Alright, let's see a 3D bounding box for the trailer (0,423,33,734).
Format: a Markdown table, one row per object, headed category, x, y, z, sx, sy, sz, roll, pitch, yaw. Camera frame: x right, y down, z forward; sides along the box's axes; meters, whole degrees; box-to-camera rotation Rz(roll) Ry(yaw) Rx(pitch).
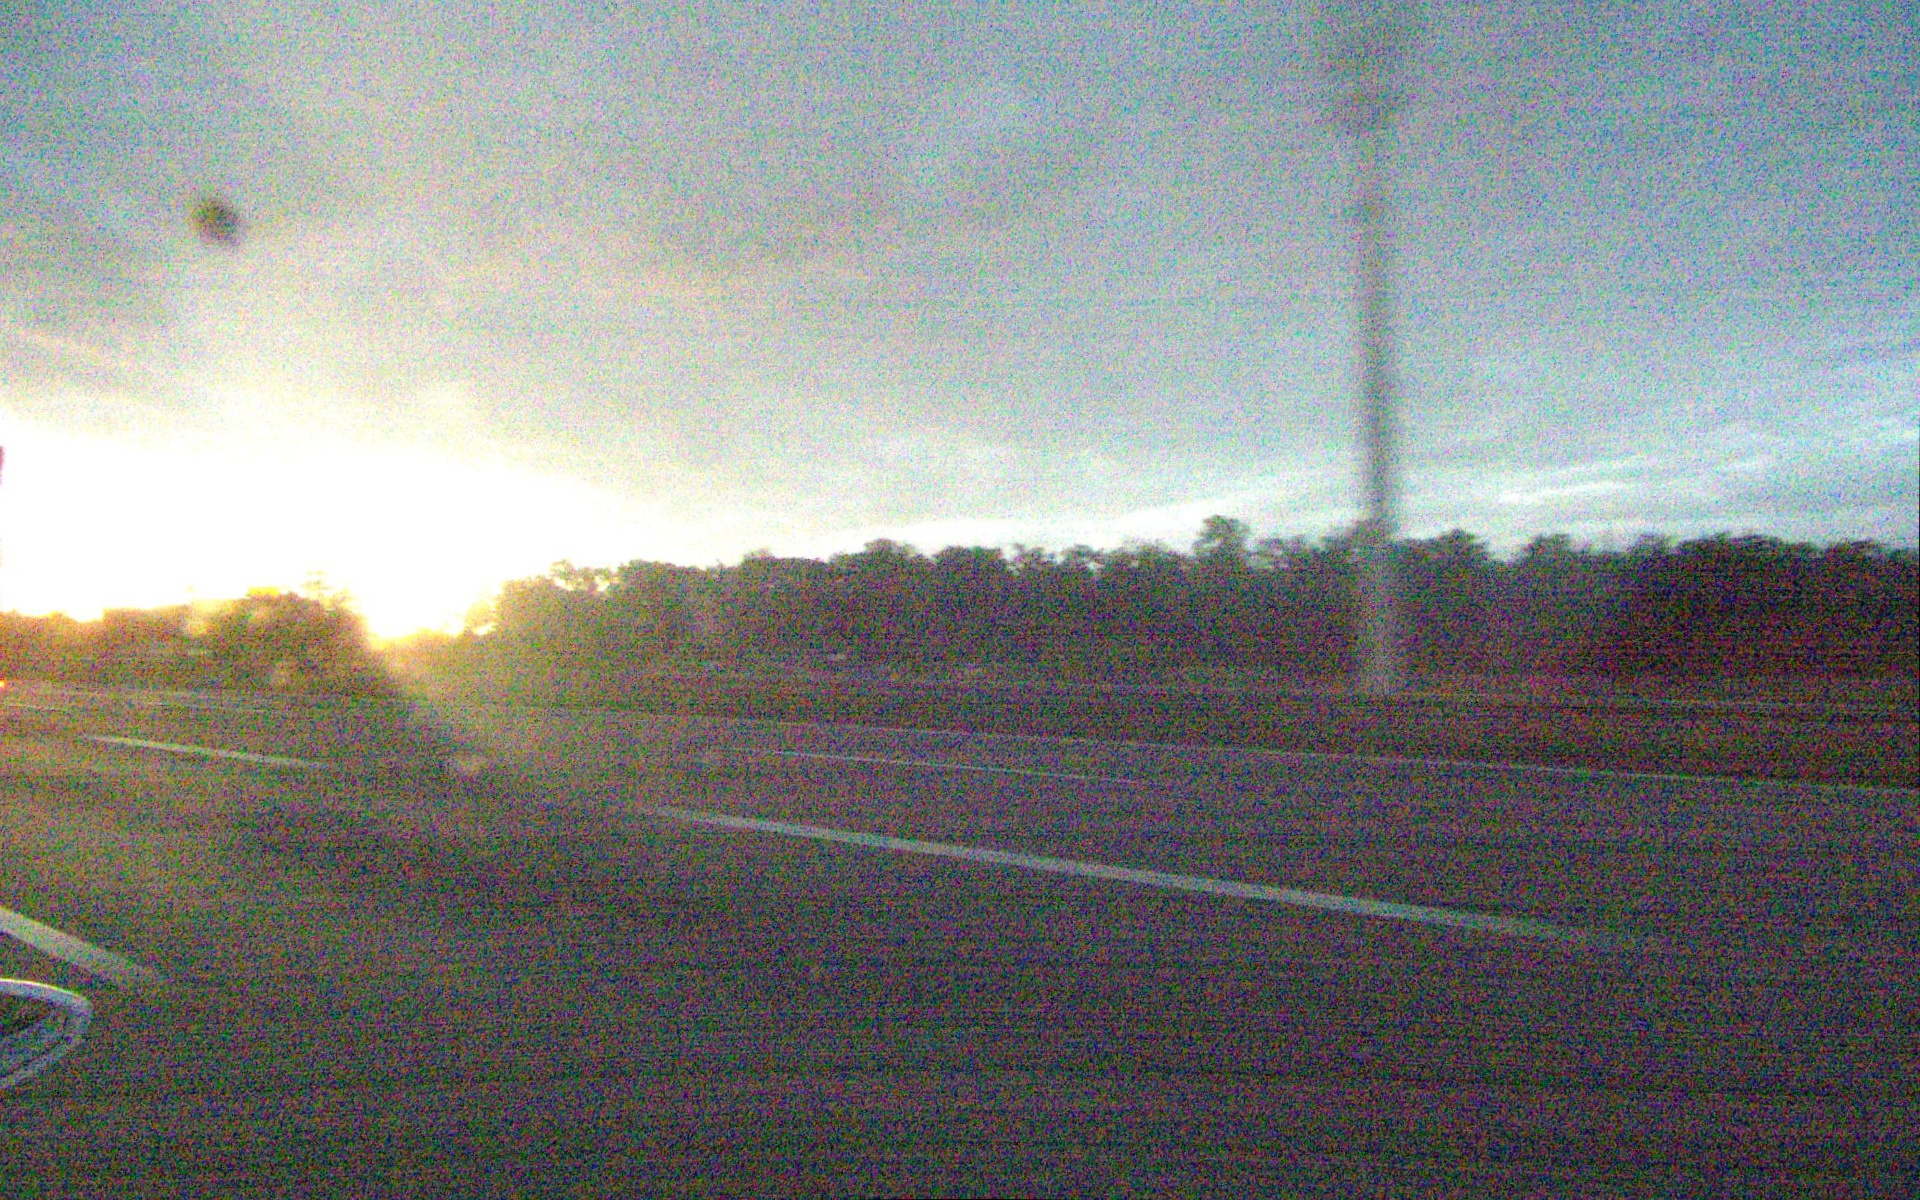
| category | x | y | z | sx | sy | sz | roll | pitch | yaw |
| --- | --- | --- | --- | --- | --- | --- | --- | --- | --- |
| trailer | -16.980 | -0.259 | 14.655 | 8.702 | 4.123 | 2.718 | -1 | -2 | 32 |
